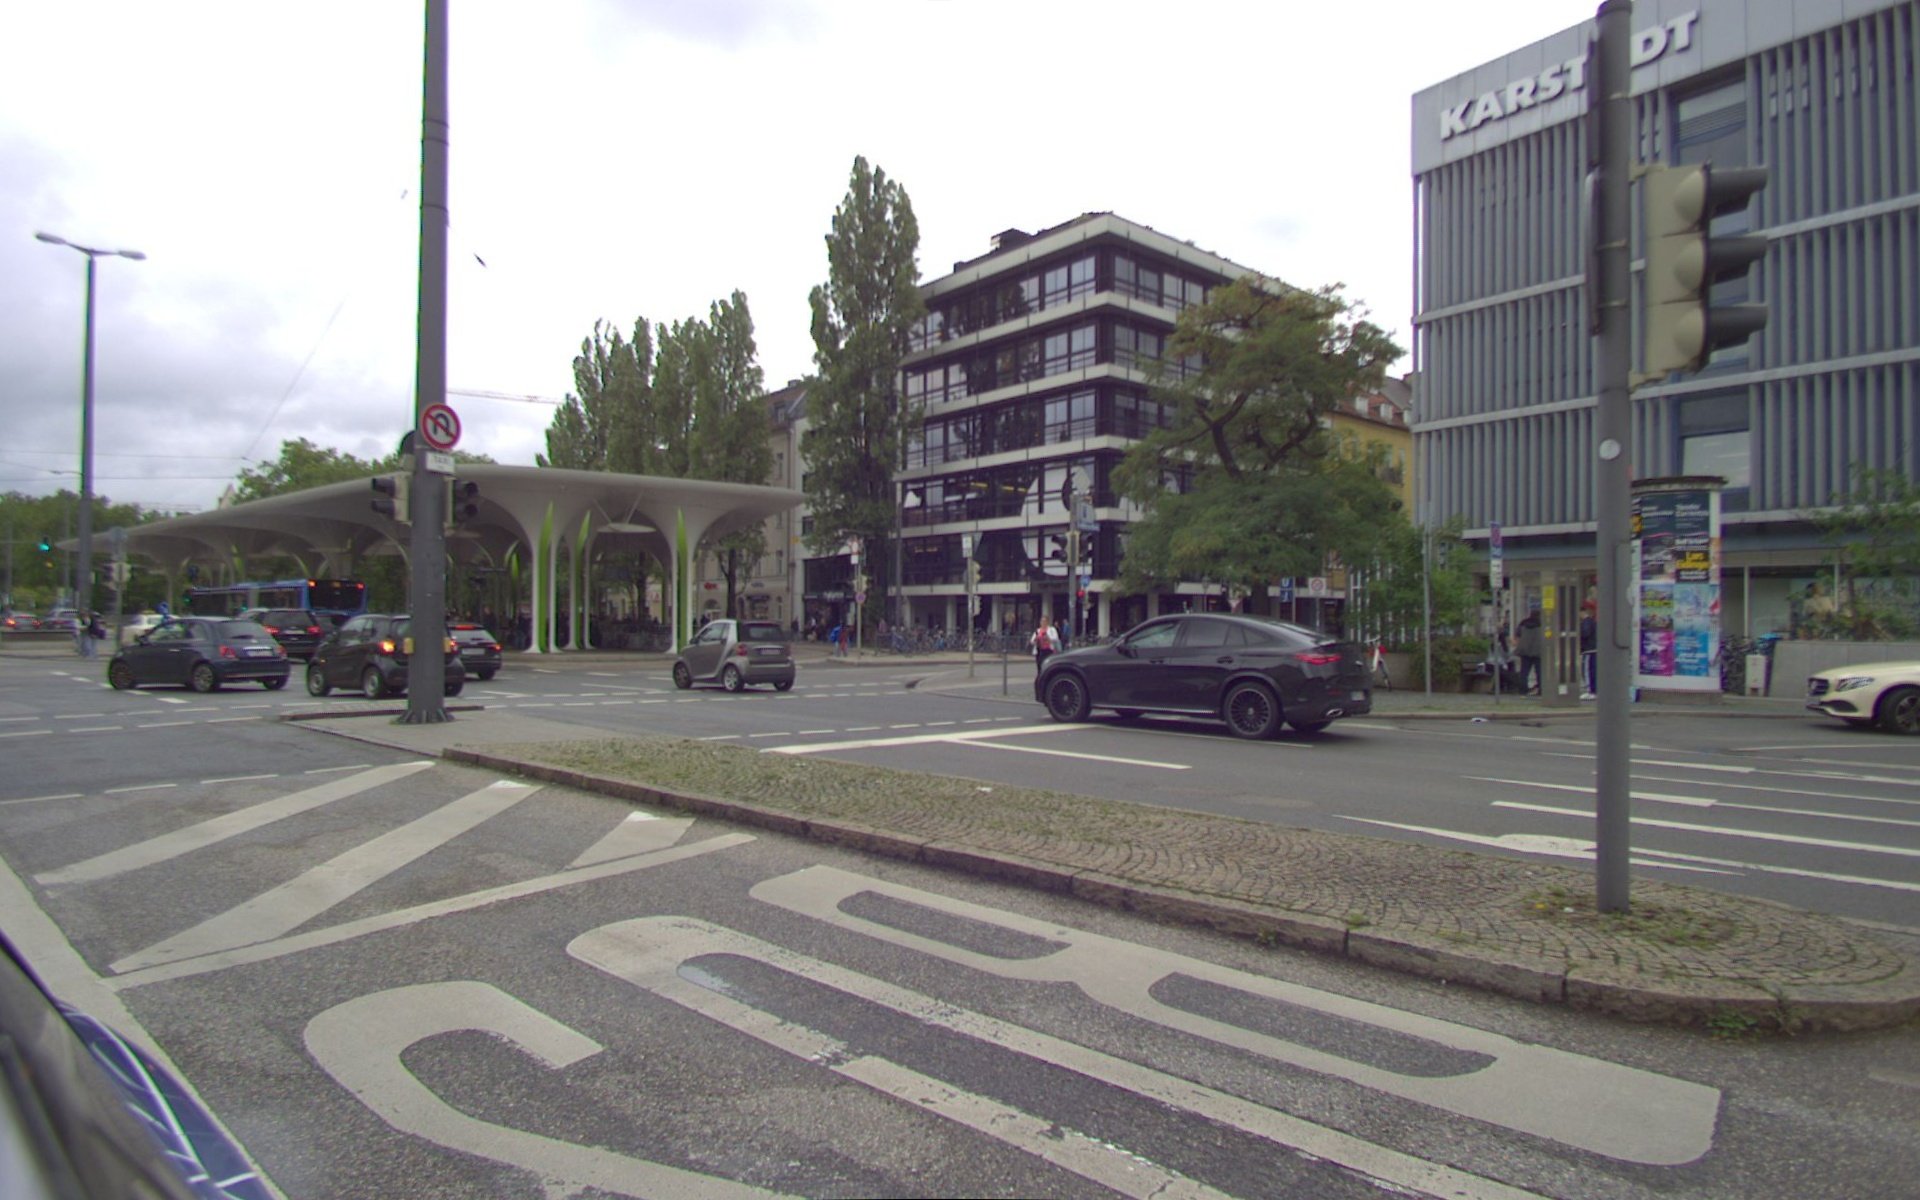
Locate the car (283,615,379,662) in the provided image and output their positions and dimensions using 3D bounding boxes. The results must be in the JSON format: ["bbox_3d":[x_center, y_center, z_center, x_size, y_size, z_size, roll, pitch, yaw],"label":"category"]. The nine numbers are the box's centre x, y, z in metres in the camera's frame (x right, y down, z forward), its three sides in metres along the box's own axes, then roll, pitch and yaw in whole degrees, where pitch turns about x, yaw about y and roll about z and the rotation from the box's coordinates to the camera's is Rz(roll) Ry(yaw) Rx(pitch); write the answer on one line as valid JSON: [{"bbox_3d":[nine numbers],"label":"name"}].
[{"bbox_3d":[-22.964,1.377,36.901,3.998,1.597,1.907,-1,-2,41],"label":"car"}]

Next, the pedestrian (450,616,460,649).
[{"bbox_3d":[-21.543,1.373,43.169,0.270,1.387,0.299,-1,-2,38],"label":"pedestrian"}]

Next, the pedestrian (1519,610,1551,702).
[{"bbox_3d":[10.882,1.047,19.153,0.459,1.712,0.426,0,0,40],"label":"pedestrian"}]

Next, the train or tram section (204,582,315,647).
[{"bbox_3d":[-35.213,0.755,50.779,7.403,3.024,2.804,-1,-2,41],"label":"train or tram section"}]

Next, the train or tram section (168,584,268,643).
[{"bbox_3d":[-40.828,0.780,55.607,7.403,3.024,2.804,-1,-2,41],"label":"train or tram section"}]

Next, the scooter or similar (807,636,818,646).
[{"bbox_3d":[-10.068,2.793,69.077,0.511,0.720,0.681,1,-2,-38],"label":"scooter or similar"}]

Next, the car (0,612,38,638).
[{"bbox_3d":[-60.220,1.559,64.406,3.998,1.549,1.824,0,0,41],"label":"car"}]

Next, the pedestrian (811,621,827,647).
[{"bbox_3d":[-9.537,2.308,68.532,0.788,1.737,0.828,1,-2,-38],"label":"pedestrian"}]

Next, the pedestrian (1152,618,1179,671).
[{"bbox_3d":[6.874,1.476,33.809,0.647,1.748,0.757,-1,-2,33],"label":"pedestrian"}]

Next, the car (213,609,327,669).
[{"bbox_3d":[-22.083,1.207,32.339,4.305,1.785,1.972,0,-3,42],"label":"car"}]

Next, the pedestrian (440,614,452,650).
[{"bbox_3d":[-22.028,1.358,43.352,0.316,1.514,0.331,-1,-2,31],"label":"pedestrian"}]

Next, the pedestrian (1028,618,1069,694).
[{"bbox_3d":[1.886,1.169,21.441,0.754,1.563,0.636,0,0,16],"label":"pedestrian"}]

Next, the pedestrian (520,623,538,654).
[{"bbox_3d":[-19.054,1.710,44.730,0.591,1.348,0.542,-1,-2,40],"label":"pedestrian"}]

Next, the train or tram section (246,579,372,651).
[{"bbox_3d":[-29.633,0.727,45.929,7.403,3.024,2.804,-1,-2,41],"label":"train or tram section"}]

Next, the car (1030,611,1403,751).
[{"bbox_3d":[3.361,0.983,13.903,4.618,1.589,1.971,-1,-2,44],"label":"car"}]

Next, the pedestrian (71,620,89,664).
[{"bbox_3d":[-28.982,1.381,33.330,0.380,1.430,0.352,-1,-2,40],"label":"pedestrian"}]

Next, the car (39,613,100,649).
[{"bbox_3d":[-44.753,1.510,50.853,3.999,1.696,1.823,0,0,42],"label":"car"}]

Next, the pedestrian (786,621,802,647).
[{"bbox_3d":[-11.060,2.244,67.336,0.821,1.712,0.907,1,-2,-27],"label":"pedestrian"}]

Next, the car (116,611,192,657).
[{"bbox_3d":[-32.581,1.330,40.879,3.999,1.696,1.737,0,0,42],"label":"car"}]

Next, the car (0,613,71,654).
[{"bbox_3d":[-36.531,1.270,39.814,3.999,1.481,1.897,0,0,42],"label":"car"}]

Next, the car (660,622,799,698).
[{"bbox_3d":[-5.052,1.259,22.098,2.745,1.527,1.652,-1,-2,41],"label":"car"}]

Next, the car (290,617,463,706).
[{"bbox_3d":[-10.826,1.081,18.787,2.776,1.518,1.547,0,-1,28],"label":"car"}]

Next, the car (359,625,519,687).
[{"bbox_3d":[-13.174,1.341,25.475,4.612,1.427,1.973,-1,-2,40],"label":"car"}]

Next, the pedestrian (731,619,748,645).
[{"bbox_3d":[-15.261,2.209,70.067,0.941,1.786,0.981,0,-2,5],"label":"pedestrian"}]

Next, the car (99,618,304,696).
[{"bbox_3d":[-15.354,1.126,20.534,3.358,1.491,1.619,0,-3,16],"label":"car"}]

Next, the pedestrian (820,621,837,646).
[{"bbox_3d":[-9.013,2.301,69.343,0.788,1.737,0.828,1,-2,-38],"label":"pedestrian"}]

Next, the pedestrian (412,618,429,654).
[{"bbox_3d":[-22.922,1.514,42.984,0.421,1.514,0.489,0,-2,-1],"label":"pedestrian"}]

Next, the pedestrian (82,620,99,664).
[{"bbox_3d":[-28.570,1.378,33.251,0.380,1.430,0.352,-1,-2,40],"label":"pedestrian"}]

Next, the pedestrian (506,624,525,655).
[{"bbox_3d":[-19.394,1.716,44.148,0.591,1.348,0.542,-1,-2,40],"label":"pedestrian"}]

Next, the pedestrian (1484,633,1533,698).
[{"bbox_3d":[11.302,1.335,20.857,0.773,1.318,0.537,-1,-2,42],"label":"pedestrian"}]

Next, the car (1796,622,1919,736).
[{"bbox_3d":[14.377,1.066,13.761,4.276,1.522,1.843,-1,-2,27],"label":"car"}]

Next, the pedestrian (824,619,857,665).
[{"bbox_3d":[-4.725,1.650,39.882,0.980,1.791,0.849,-1,-2,42],"label":"pedestrian"}]

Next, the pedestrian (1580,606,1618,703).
[{"bbox_3d":[12.082,1.019,19.140,0.510,1.792,0.555,0,0,44],"label":"pedestrian"}]

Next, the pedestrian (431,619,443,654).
[{"bbox_3d":[-22.292,1.551,43.100,0.316,1.514,0.317,-1,-2,31],"label":"pedestrian"}]
